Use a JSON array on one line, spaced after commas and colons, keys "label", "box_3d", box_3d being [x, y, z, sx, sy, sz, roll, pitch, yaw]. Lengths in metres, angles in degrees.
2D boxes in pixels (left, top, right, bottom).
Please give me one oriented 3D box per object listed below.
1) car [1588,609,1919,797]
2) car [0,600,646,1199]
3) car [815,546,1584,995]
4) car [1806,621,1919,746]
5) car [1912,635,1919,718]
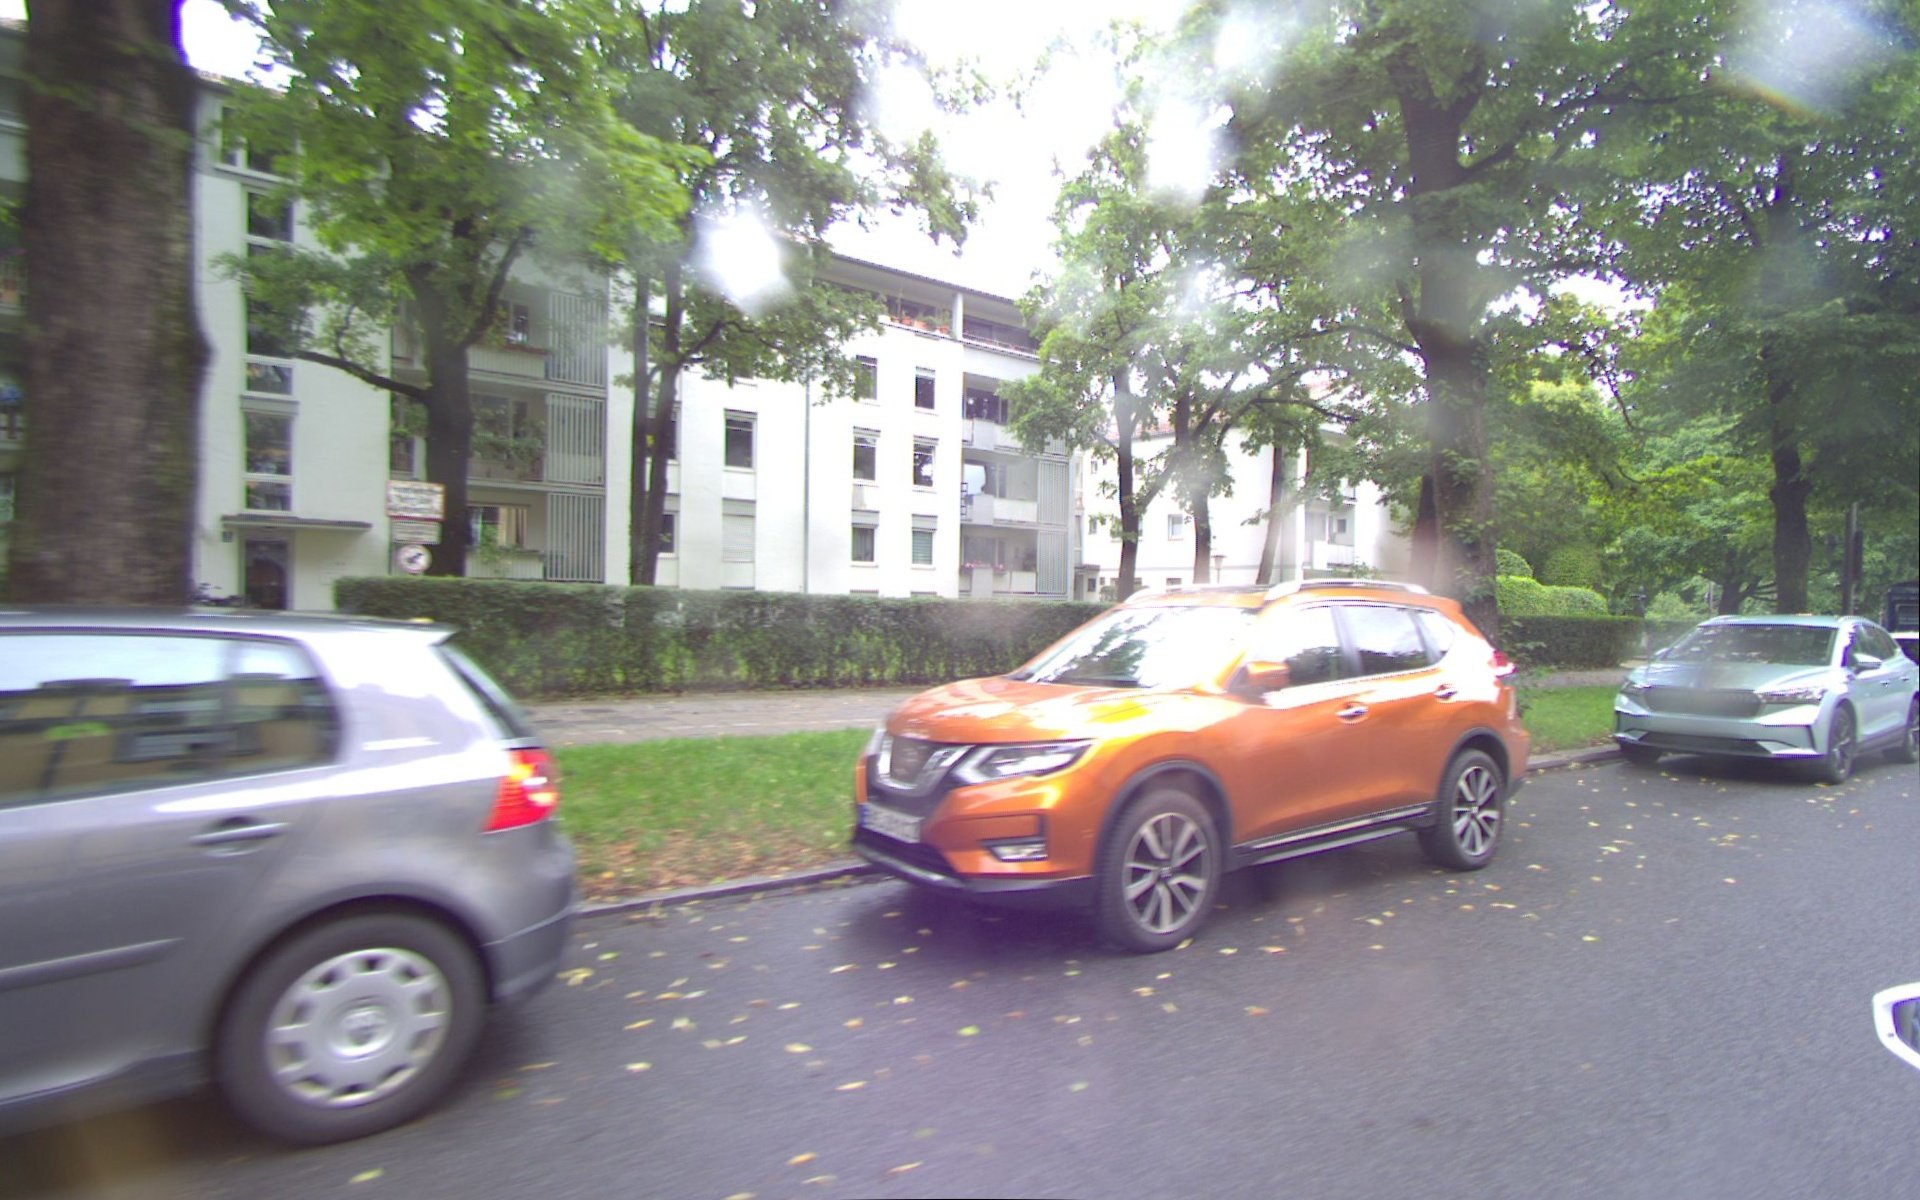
[{"label": "car", "box_3d": [8.795, 0.970, 10.889, 4.469, 1.623, 1.803, 2, 0, -36]}, {"label": "car", "box_3d": [-3.203, 0.722, 2.662, 4.211, 1.442, 1.715, 1, 0, -36]}, {"label": "car", "box_3d": [1.634, 0.717, 6.003, 4.593, 1.751, 1.861, 2, 0, -34]}, {"label": "car", "box_3d": [13.344, 1.093, 13.875, 4.158, 1.517, 1.567, 2, 0, -36]}, {"label": "car", "box_3d": [17.759, 1.312, 16.960, 4.001, 1.361, 1.568, 2, 0, -33]}]
